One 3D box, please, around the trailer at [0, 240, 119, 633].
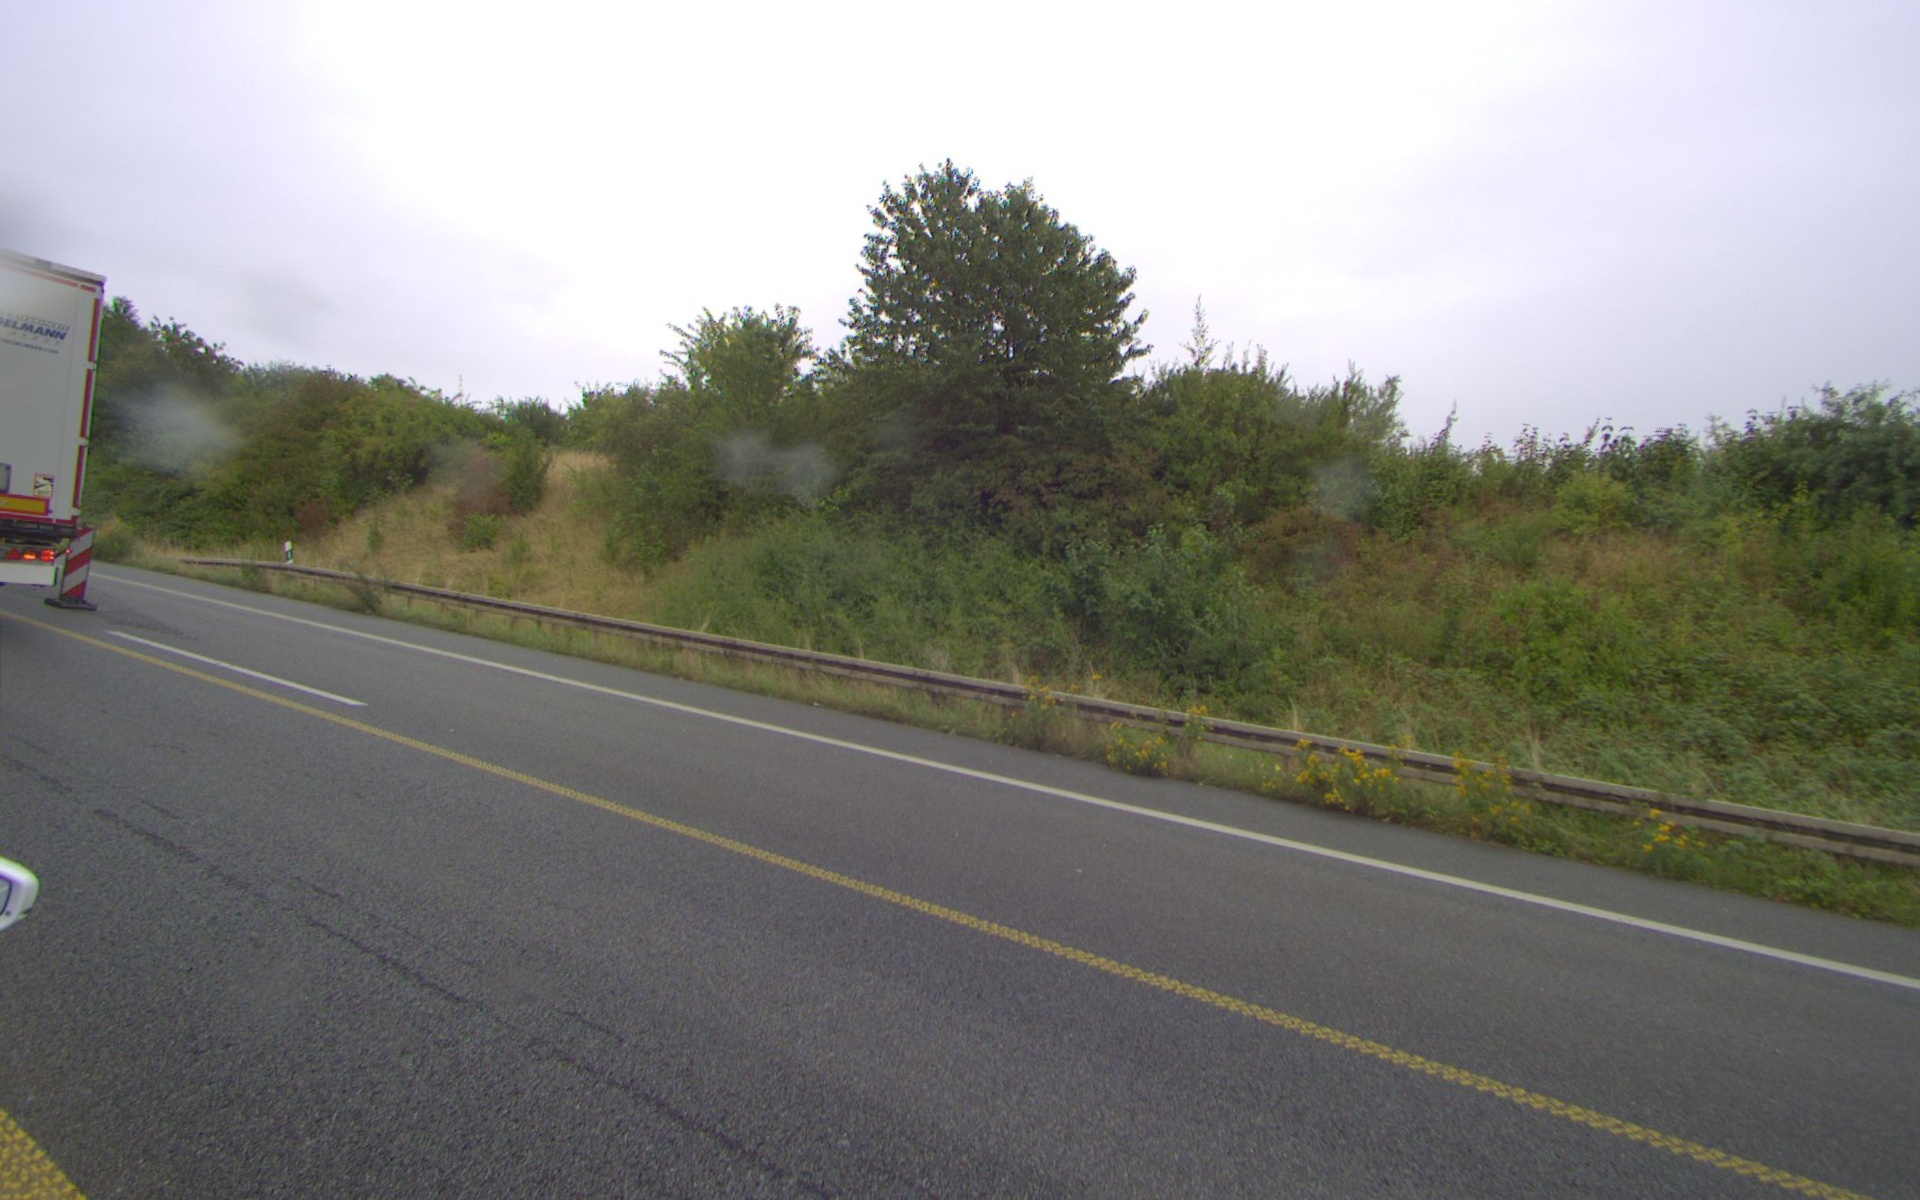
[{"bbox_3d":[-16.234,-2.460,13.923,13.407,4.125,2.697,7,-1,32],"label":"trailer"}]
